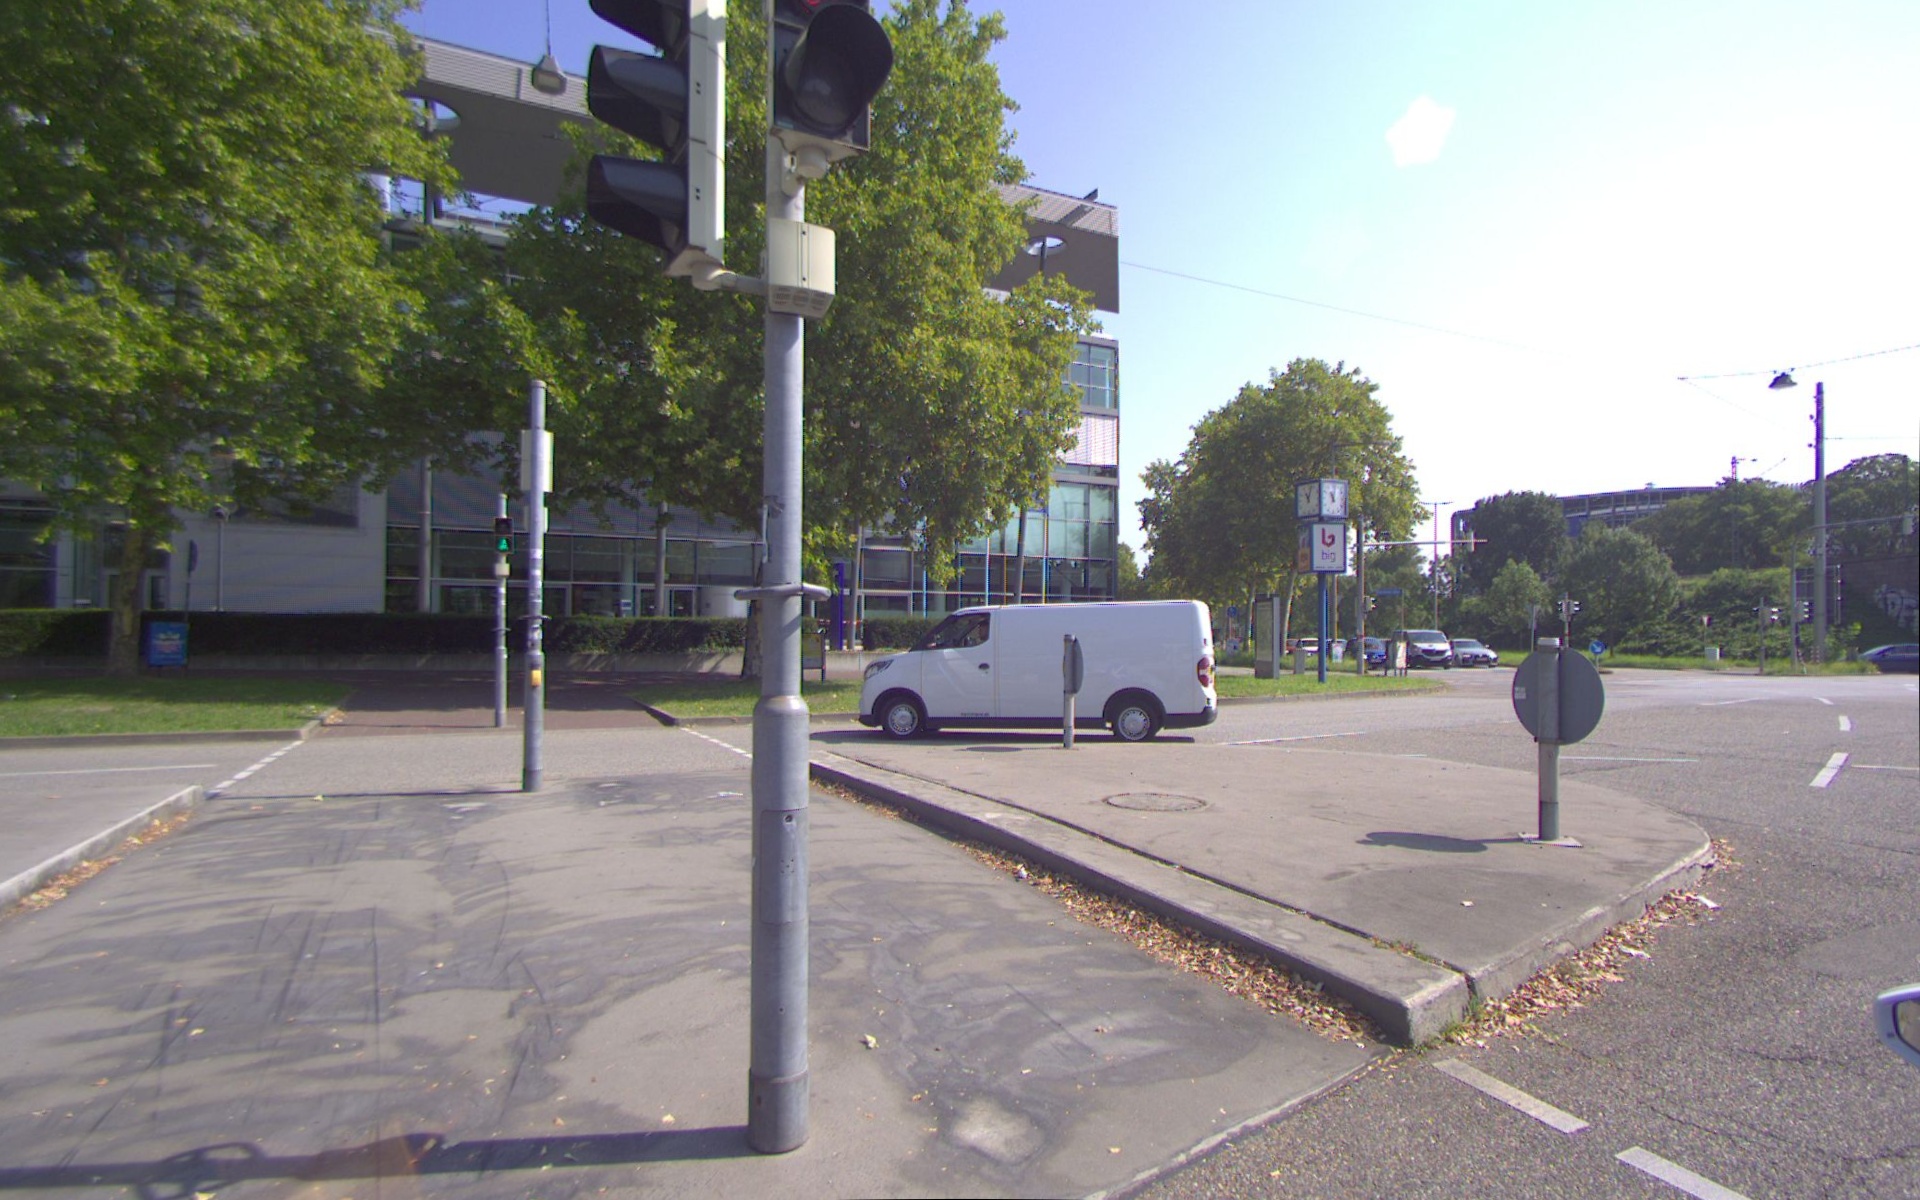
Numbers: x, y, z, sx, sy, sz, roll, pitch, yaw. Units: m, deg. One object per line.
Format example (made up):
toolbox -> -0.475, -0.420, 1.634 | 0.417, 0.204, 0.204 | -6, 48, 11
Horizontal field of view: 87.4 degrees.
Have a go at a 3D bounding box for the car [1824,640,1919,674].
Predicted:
car -> 44.731, 2.750, 48.656 | 3.920, 1.447, 1.787 | 2, 0, 17

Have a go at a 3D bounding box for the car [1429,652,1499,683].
car -> 26.255, 3.487, 52.506 | 1.804, 1.462, 4.610 | -2, -3, 8

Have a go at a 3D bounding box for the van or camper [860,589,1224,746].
van or camper -> 1.187, 0.926, 14.262 | 4.849, 1.972, 1.848 | -1, -3, 18

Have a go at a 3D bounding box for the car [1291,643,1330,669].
car -> 21.983, 3.516, 63.117 | 1.639, 1.555, 3.734 | -2, -3, 10

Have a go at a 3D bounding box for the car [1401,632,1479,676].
car -> 23.272, 2.578, 48.962 | 1.894, 1.983, 5.216 | 0, -2, 7
